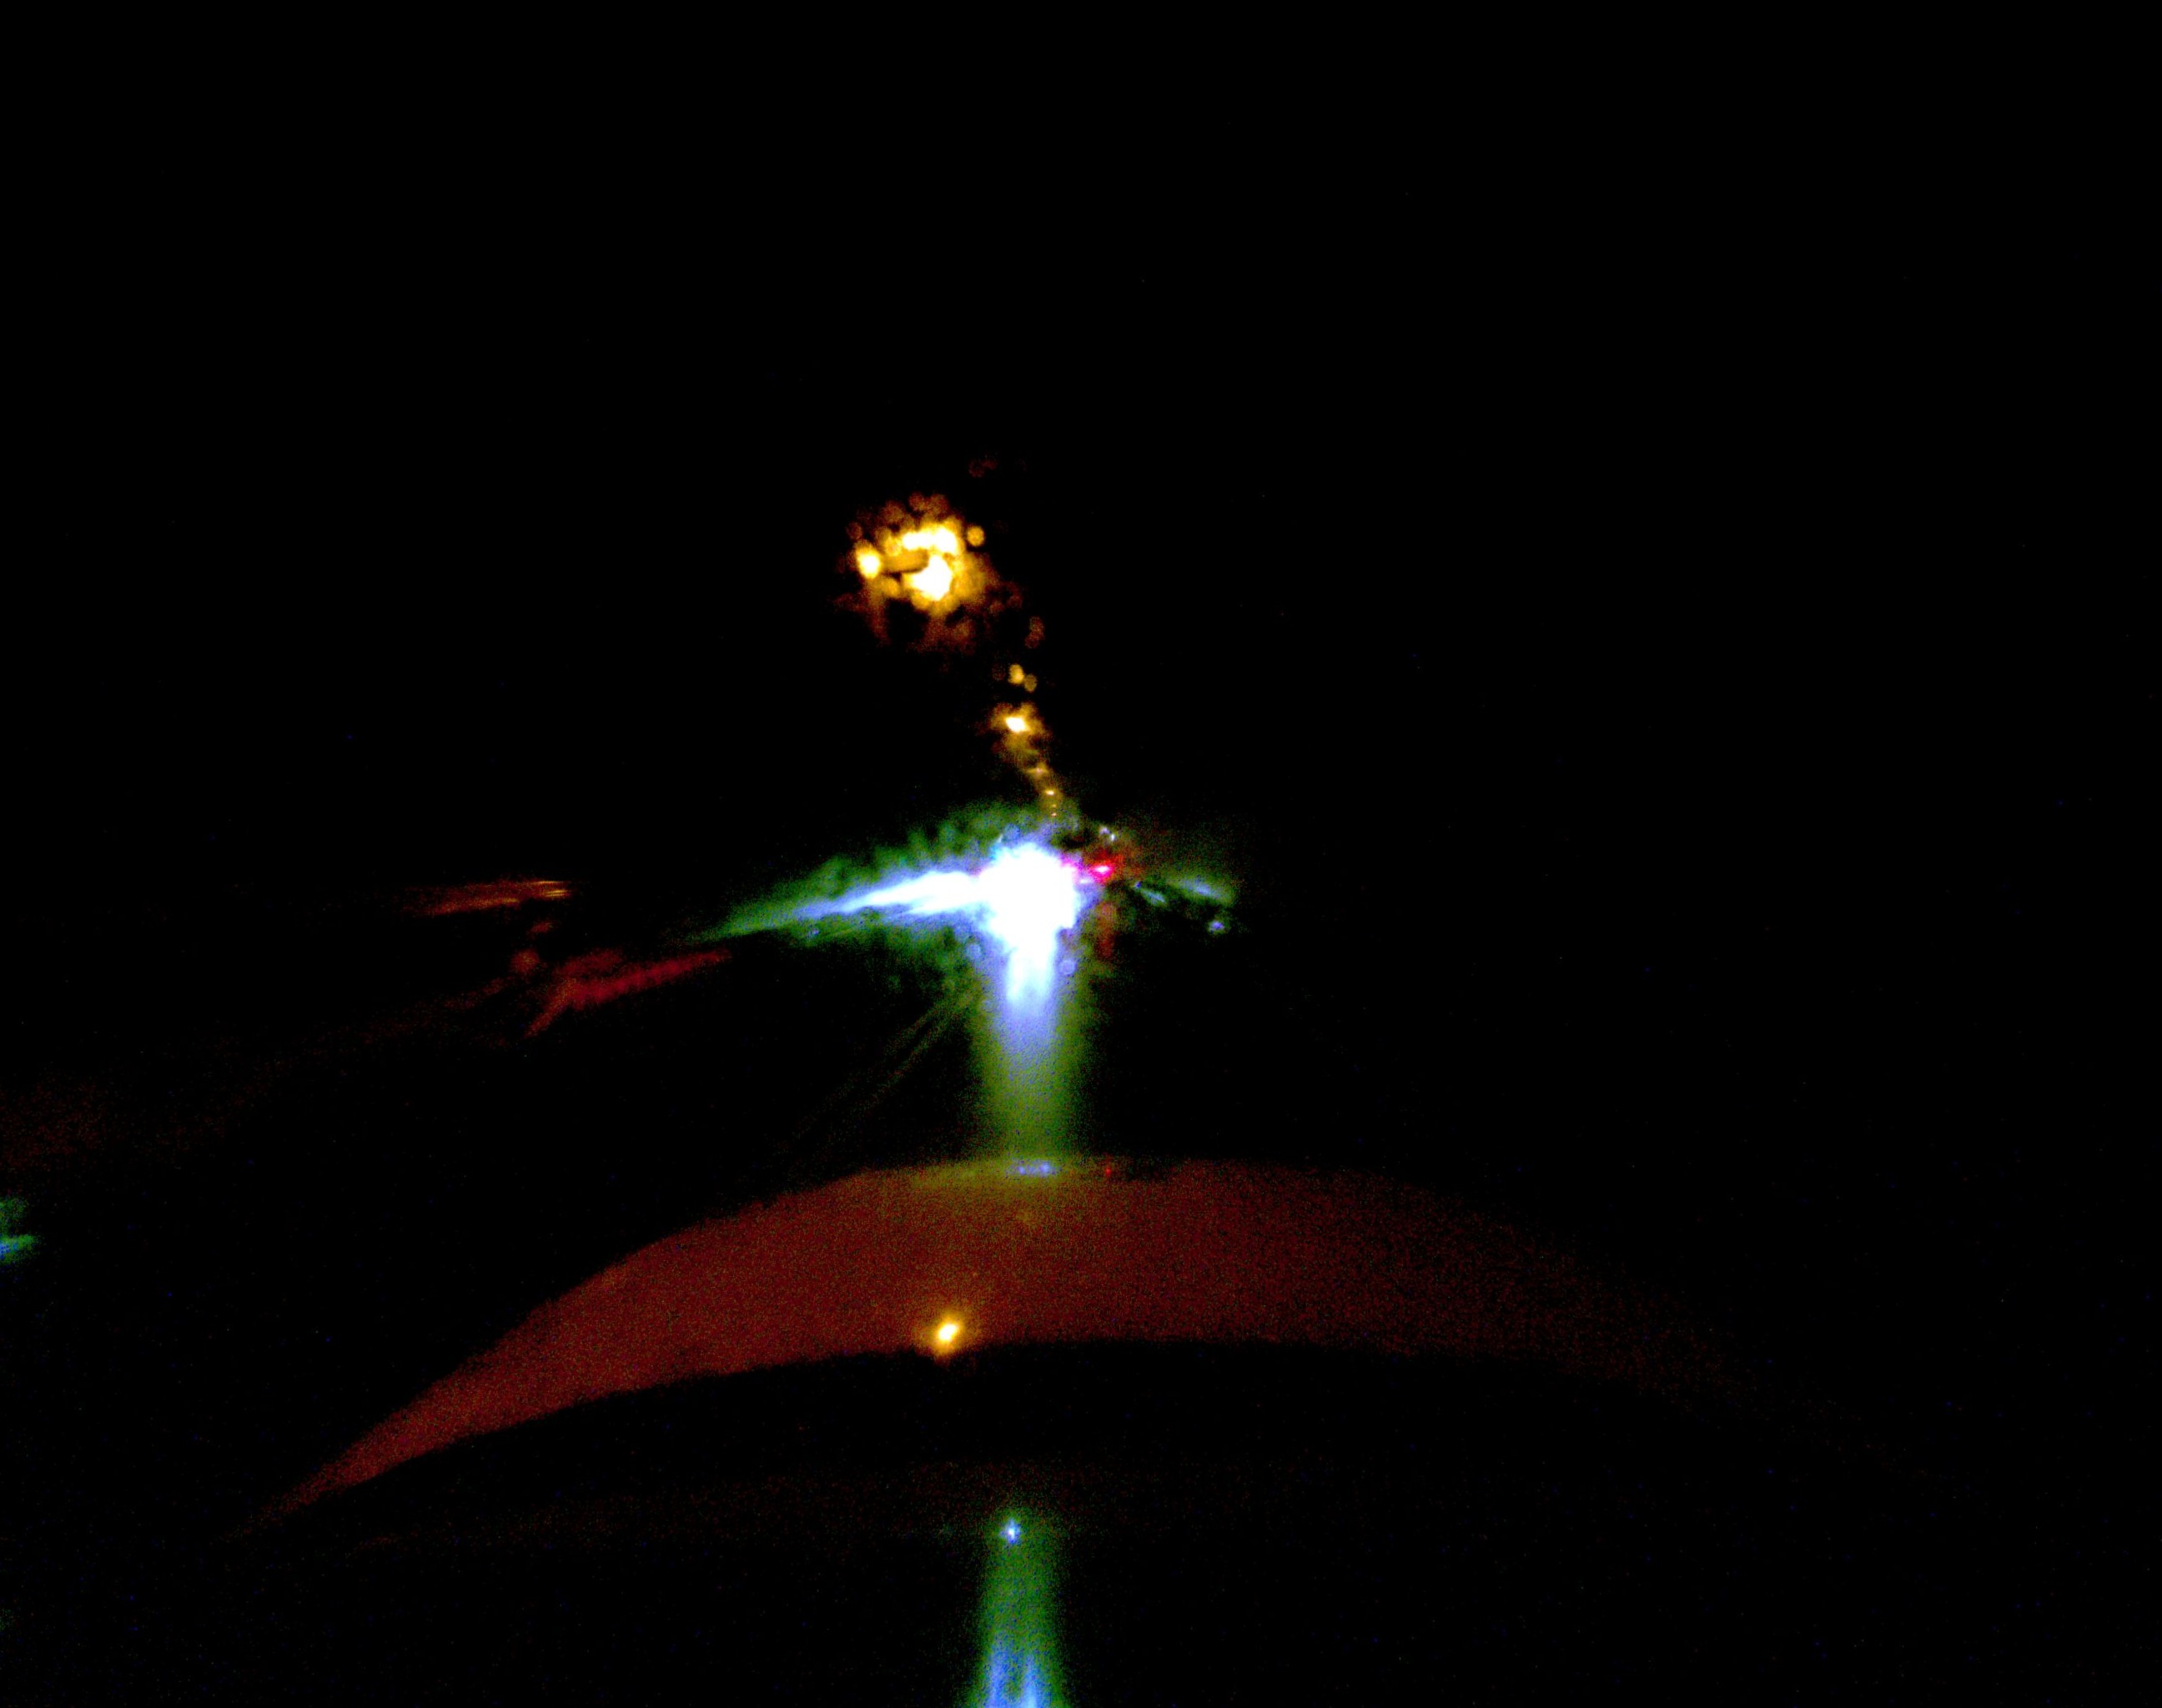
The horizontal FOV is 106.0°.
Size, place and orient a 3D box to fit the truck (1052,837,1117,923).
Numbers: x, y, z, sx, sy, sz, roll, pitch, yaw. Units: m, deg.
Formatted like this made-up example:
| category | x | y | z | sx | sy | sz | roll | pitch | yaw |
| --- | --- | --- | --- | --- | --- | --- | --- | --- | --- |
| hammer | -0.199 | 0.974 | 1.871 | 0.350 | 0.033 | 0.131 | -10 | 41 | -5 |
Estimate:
| category | x | y | z | sx | sy | sz | roll | pitch | yaw |
| --- | --- | --- | --- | --- | --- | --- | --- | --- | --- |
| truck | 0.253 | 0.955 | 32.717 | 2.253 | 3.011 | 7.418 | 1 | 0 | 2 |

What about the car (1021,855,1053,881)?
| category | x | y | z | sx | sy | sz | roll | pitch | yaw |
| --- | --- | --- | --- | --- | --- | --- | --- | --- | --- |
| car | -2.659 | 0.801 | 49.536 | 1.650 | 1.493 | 3.838 | 1 | 0 | 1 |

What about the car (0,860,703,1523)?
| category | x | y | z | sx | sy | sz | roll | pitch | yaw |
| --- | --- | --- | --- | --- | --- | --- | --- | --- | --- |
| car | -3.328 | 0.782 | 2.999 | 1.806 | 1.482 | 4.202 | 0 | 0 | 1 |
